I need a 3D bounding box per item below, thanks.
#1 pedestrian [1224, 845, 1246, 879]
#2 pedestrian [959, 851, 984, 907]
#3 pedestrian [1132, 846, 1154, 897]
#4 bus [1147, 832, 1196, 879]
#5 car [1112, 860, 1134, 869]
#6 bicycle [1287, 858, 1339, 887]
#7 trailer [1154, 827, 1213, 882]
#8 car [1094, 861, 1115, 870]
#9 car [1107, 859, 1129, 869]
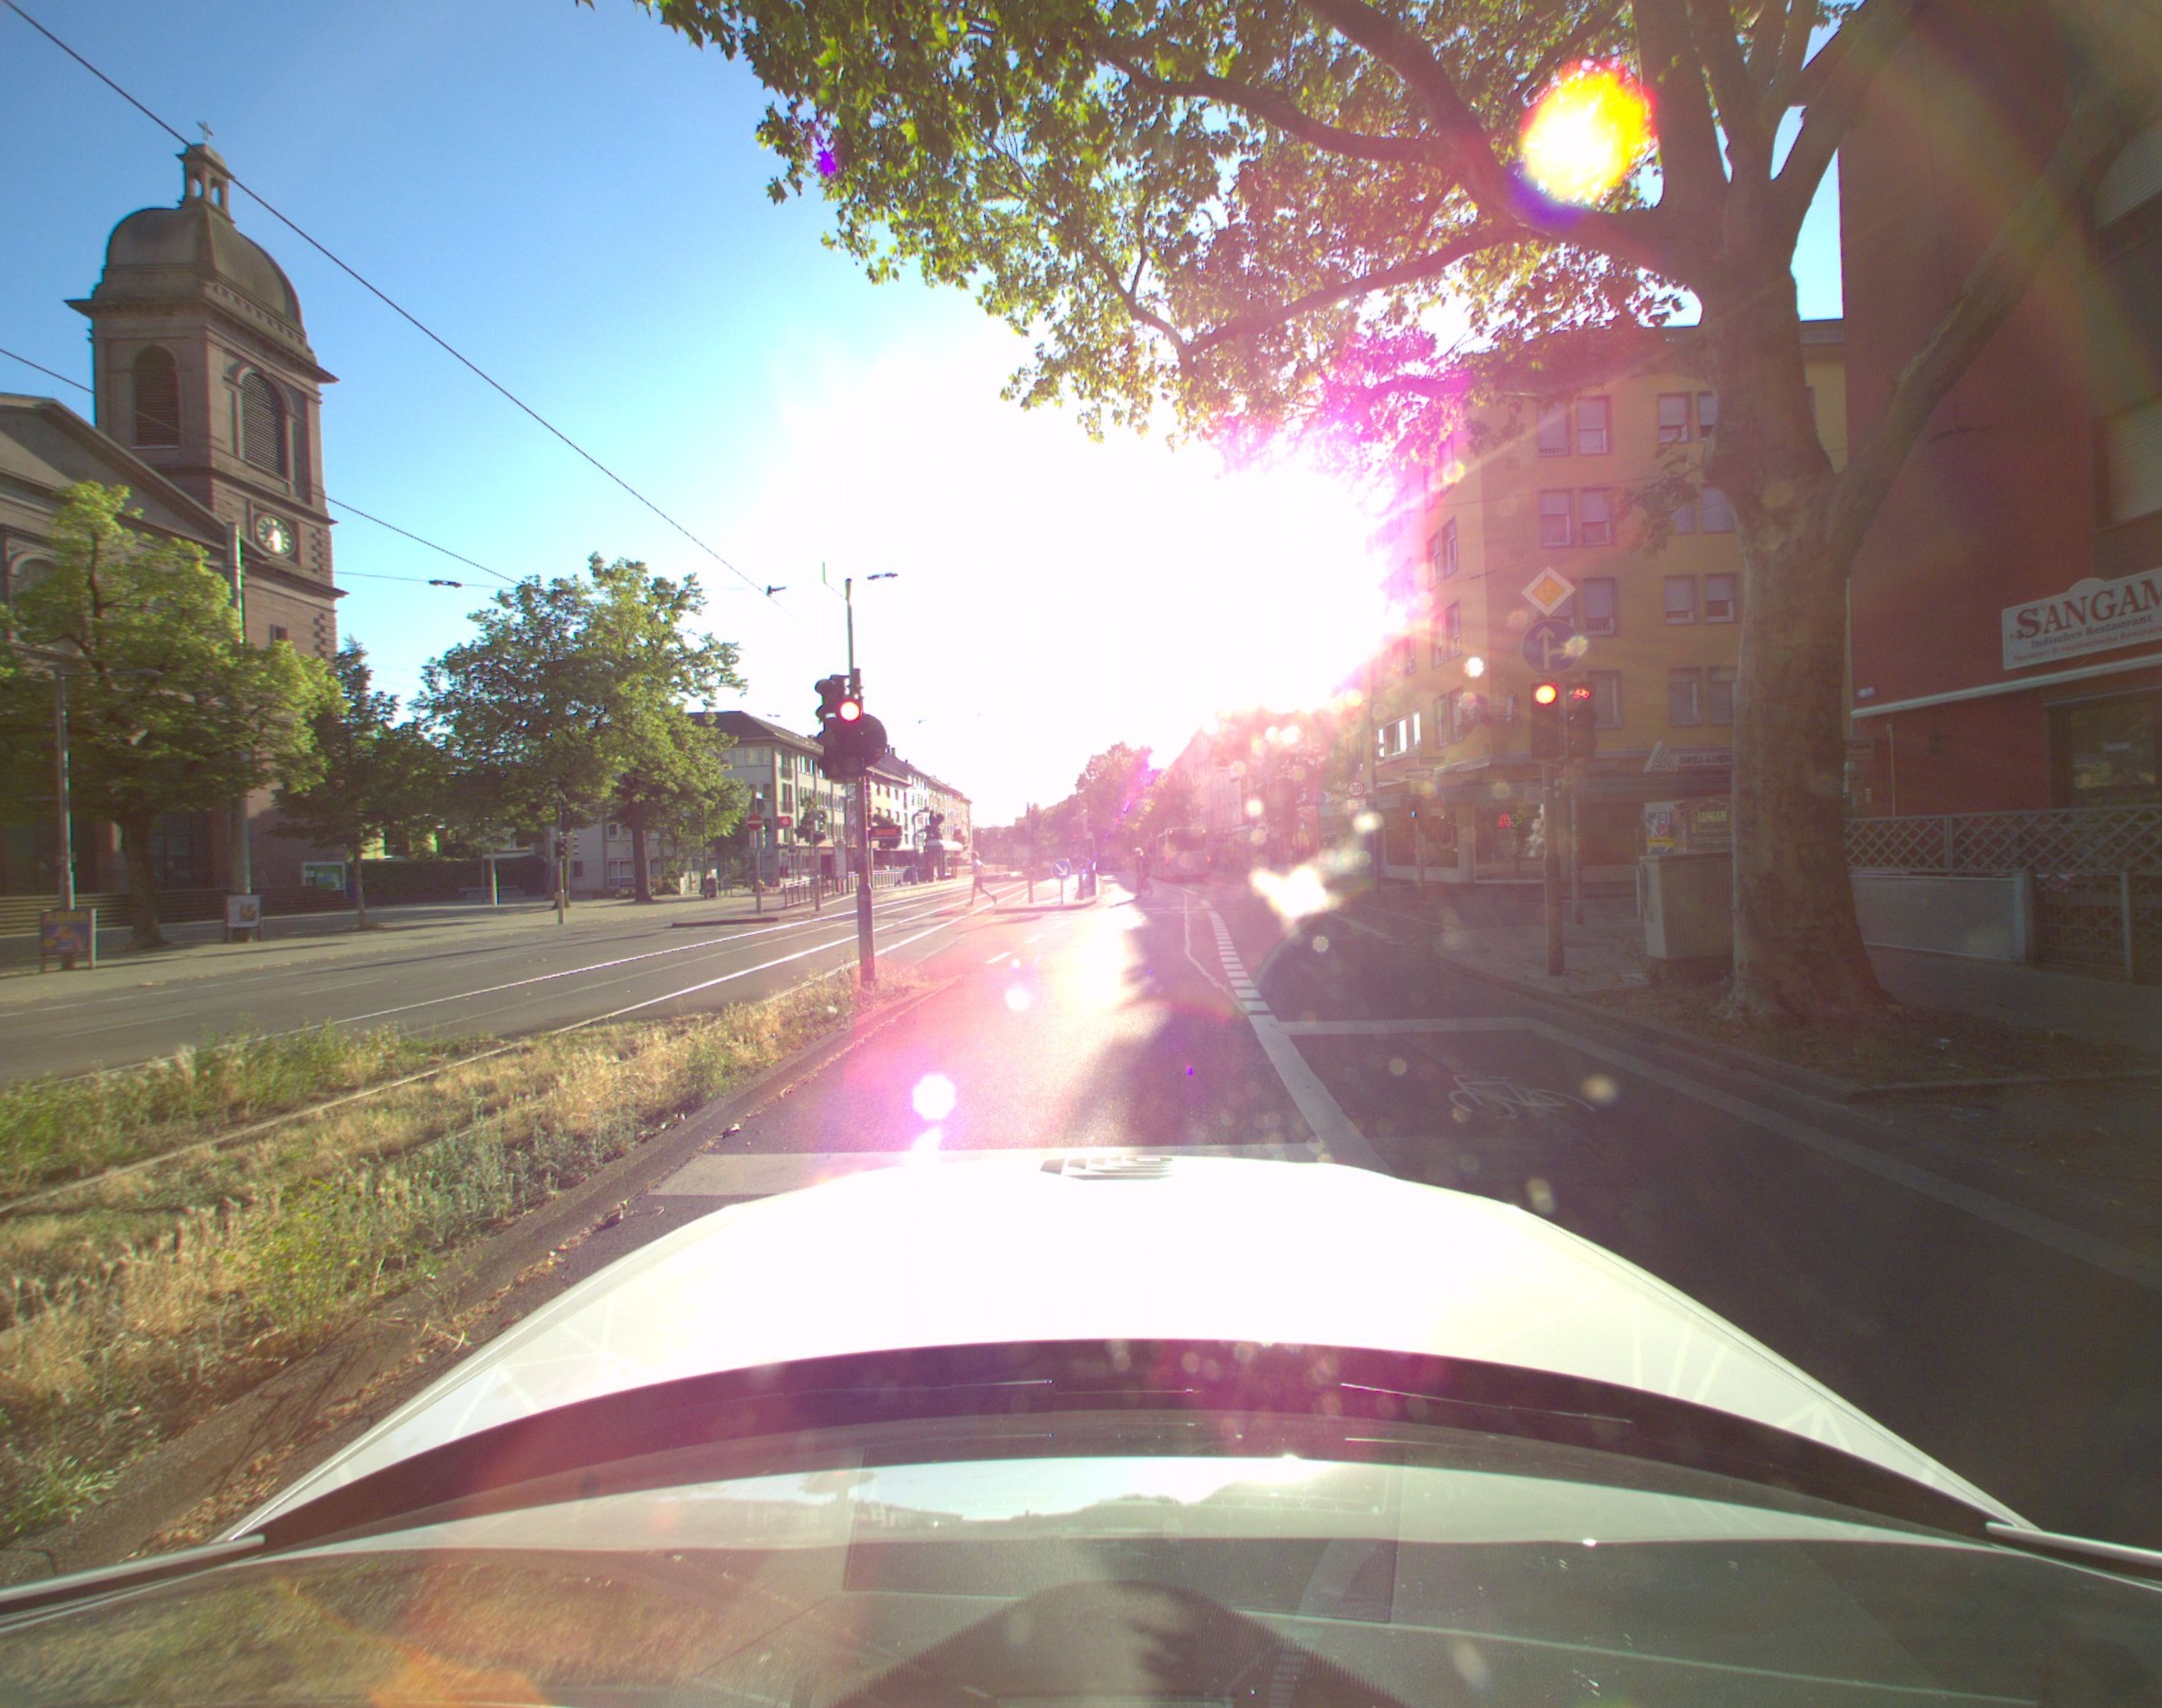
[{"bbox_3d":[9.313,0.496,49.212,0.961,2.014,0.907,0,-1,-35],"label":"pedestrian"},{"bbox_3d":[-3.552,0.797,26.499,0.678,1.770,0.686,-2,0,-3],"label":"pedestrian"},{"bbox_3d":[2.192,0.625,28.849,0.677,1.770,0.687,-1,0,2],"label":"pedestrian"},{"bbox_3d":[6.409,0.119,58.881,2.801,3.101,9.097,0,0,2],"label":"bus"},{"bbox_3d":[8.240,2.071,158.485,3.911,1.699,1.817,-2,0,-27],"label":"car"},{"bbox_3d":[8.902,0.704,31.253,1.766,1.021,0.694,-4,-1,1],"label":"bicycle"},{"bbox_3d":[6.107,0.057,49.930,2.801,3.110,8.797,0,0,2],"label":"trailer"},{"bbox_3d":[4.859,2.310,166.883,3.911,1.596,1.676,-2,0,-27],"label":"car"},{"bbox_3d":[7.260,1.996,161.340,3.911,1.699,1.817,-2,0,-27],"label":"car"}]
